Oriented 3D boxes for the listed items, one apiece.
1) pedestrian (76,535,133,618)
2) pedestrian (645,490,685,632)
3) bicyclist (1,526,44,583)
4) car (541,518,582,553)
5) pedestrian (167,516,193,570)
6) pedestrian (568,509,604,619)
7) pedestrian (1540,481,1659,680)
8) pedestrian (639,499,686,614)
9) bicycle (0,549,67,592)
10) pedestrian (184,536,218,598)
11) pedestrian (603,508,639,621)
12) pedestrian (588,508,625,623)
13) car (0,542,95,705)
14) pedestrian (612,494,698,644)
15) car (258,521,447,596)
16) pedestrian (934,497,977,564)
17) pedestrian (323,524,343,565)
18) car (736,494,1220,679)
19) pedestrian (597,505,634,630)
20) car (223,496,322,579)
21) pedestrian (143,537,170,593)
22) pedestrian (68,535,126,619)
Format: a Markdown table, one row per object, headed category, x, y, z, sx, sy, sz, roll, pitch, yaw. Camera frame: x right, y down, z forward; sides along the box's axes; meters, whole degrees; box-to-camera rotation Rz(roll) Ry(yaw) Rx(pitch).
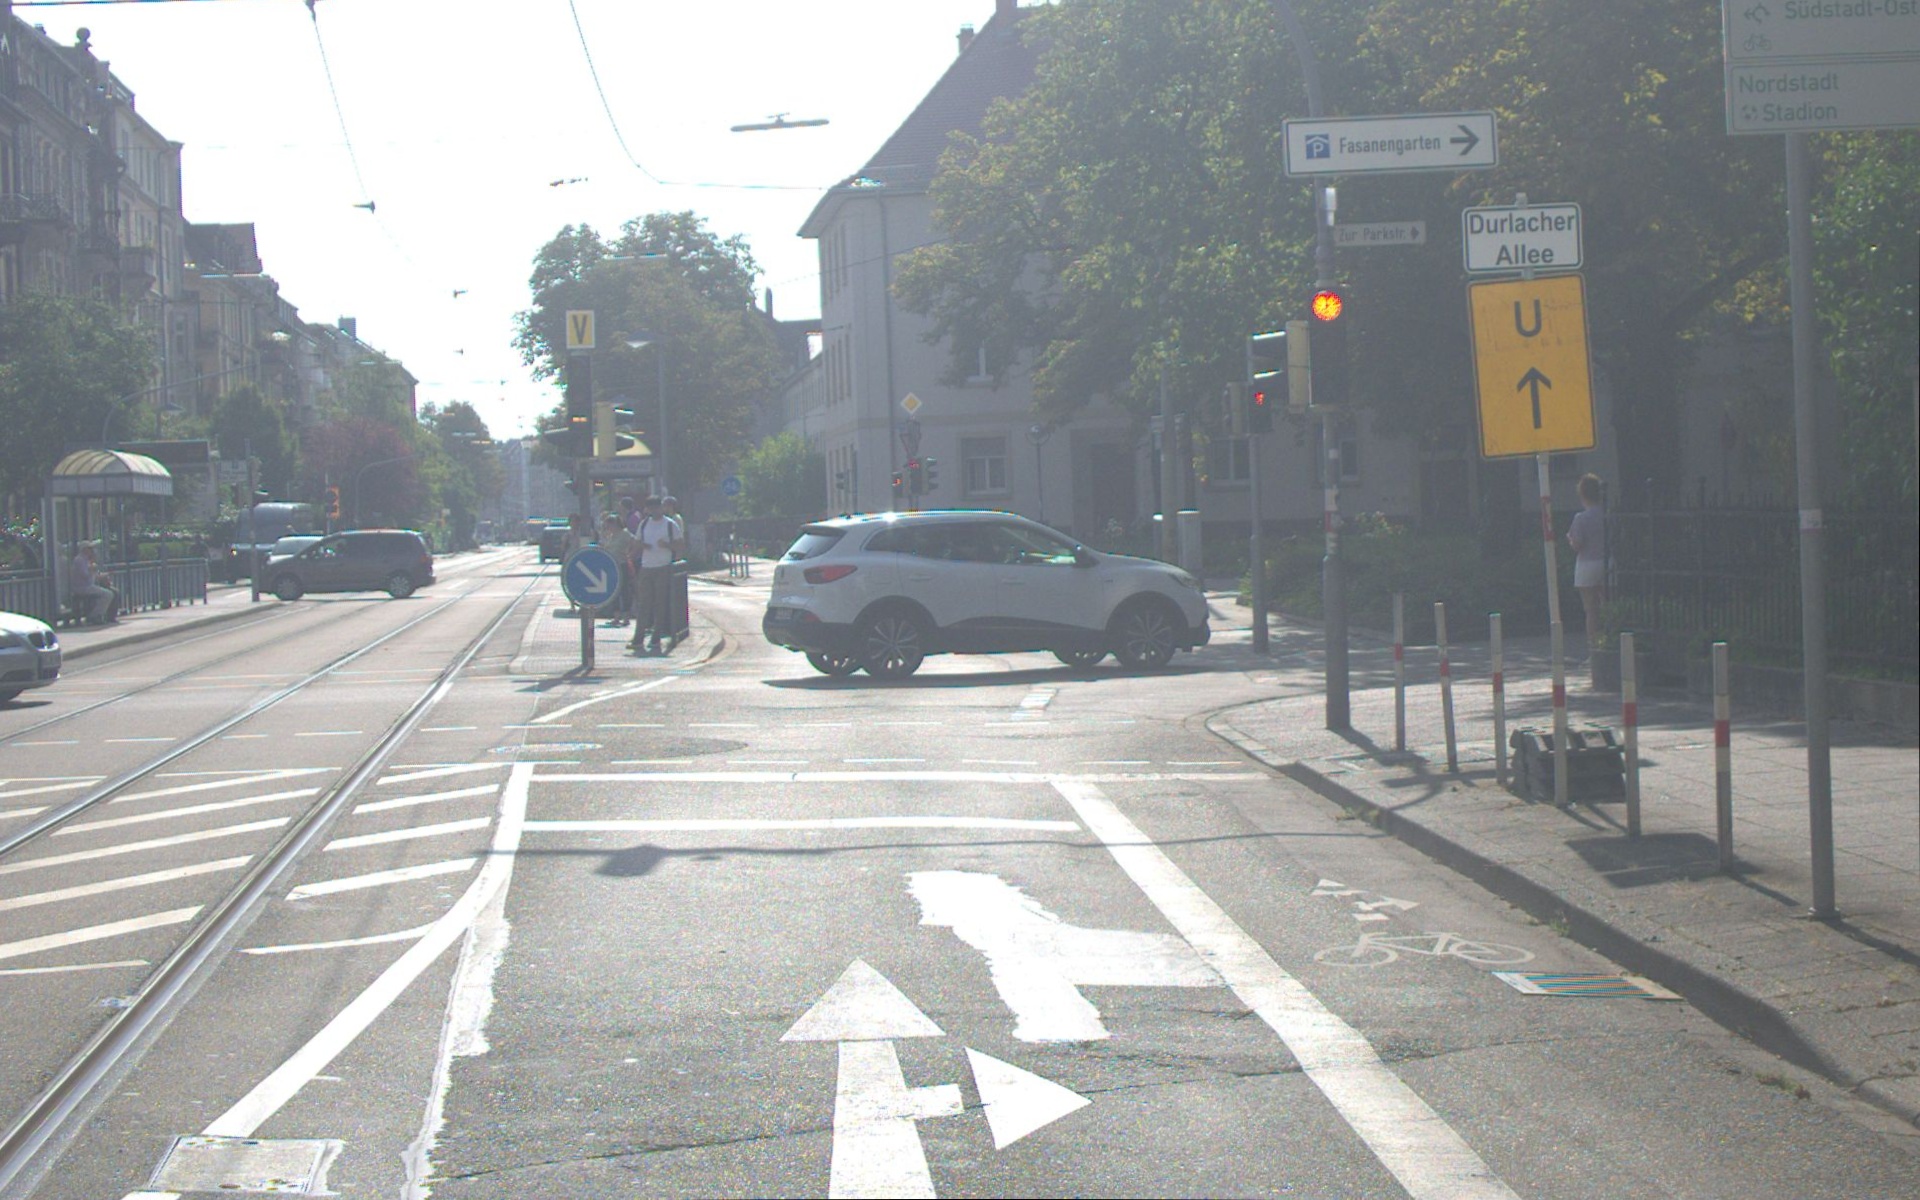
| category | x | y | z | sx | sy | sz | roll | pitch | yaw |
| --- | --- | --- | --- | --- | --- | --- | --- | --- | --- |
| pedestrian | -14.254 | -0.399 | 57.285 | 0.827 | 1.354 | 0.776 | -2 | 1 | -10 |
| pedestrian | -3.845 | -0.511 | 44.788 | 0.504 | 1.827 | 0.534 | 1 | 3 | -5 |
| bicyclist | -22.208 | -1.086 | 81.434 | 0.819 | 1.323 | 0.548 | -2 | 1 | -2 |
| car | -19.529 | -3.160 | 168.480 | 1.801 | 1.648 | 3.643 | -2 | 1 | -5 |
| pedestrian | -25.274 | -1.855 | 111.347 | 0.749 | 1.725 | 0.772 | -2 | 1 | -14 |
| pedestrian | -6.049 | -0.586 | 55.581 | 0.532 | 1.753 | 0.545 | 1 | 3 | -4 |
| pedestrian | 5.701 | -0.182 | 30.663 | 0.749 | 1.725 | 0.772 | -2 | 1 | -14 |
| pedestrian | -4.643 | -0.682 | 53.652 | 0.708 | 1.753 | 0.534 | 1 | 3 | -5 |
| bicycle | -22.172 | -0.689 | 81.447 | 1.850 | 0.954 | 0.548 | -2 | 1 | -2 |
| pedestrian | -21.354 | -0.937 | 96.739 | 0.750 | 1.725 | 0.772 | -2 | 1 | -3 |
| pedestrian | -5.352 | -0.565 | 54.217 | 0.543 | 1.753 | 0.534 | 1 | 3 | -5 |
| pedestrian | -5.483 | -0.540 | 53.394 | 0.543 | 1.753 | 0.534 | 1 | 3 | -5 |
| car | -10.829 | 0.261 | 32.444 | 4.772 | 1.461 | 1.870 | -2 | 1 | 6 |
| pedestrian | -3.593 | -0.374 | 40.529 | 0.701 | 1.719 | 0.747 | 3 | 4 | 27 |
| car | -14.651 | -1.015 | 83.146 | 4.321 | 1.669 | 2.000 | -2 | 1 | -6 |
| pedestrian | -0.118 | -1.836 | 90.437 | 0.892 | 1.734 | 0.775 | -1 | 1 | 16 |
| pedestrian | -26.383 | -2.336 | 144.627 | 0.749 | 1.725 | 0.772 | -2 | 1 | -14 |
| car | 0.165 | -0.165 | 34.027 | 4.316 | 1.625 | 2.001 | -2 | 2 | -20 |
| pedestrian | -4.953 | -0.471 | 49.416 | 0.504 | 1.753 | 0.534 | 1 | 3 | -5 |
| car | -22.998 | -2.105 | 115.177 | 2.347 | 2.652 | 5.105 | -2 | 1 | -2 |
| pedestrian | -25.122 | -1.094 | 107.526 | 0.749 | 1.725 | 0.772 | -2 | 1 | -14 |
| pedestrian | -14.135 | -0.381 | 56.314 | 0.827 | 1.354 | 0.776 | -2 | 1 | -10 |
